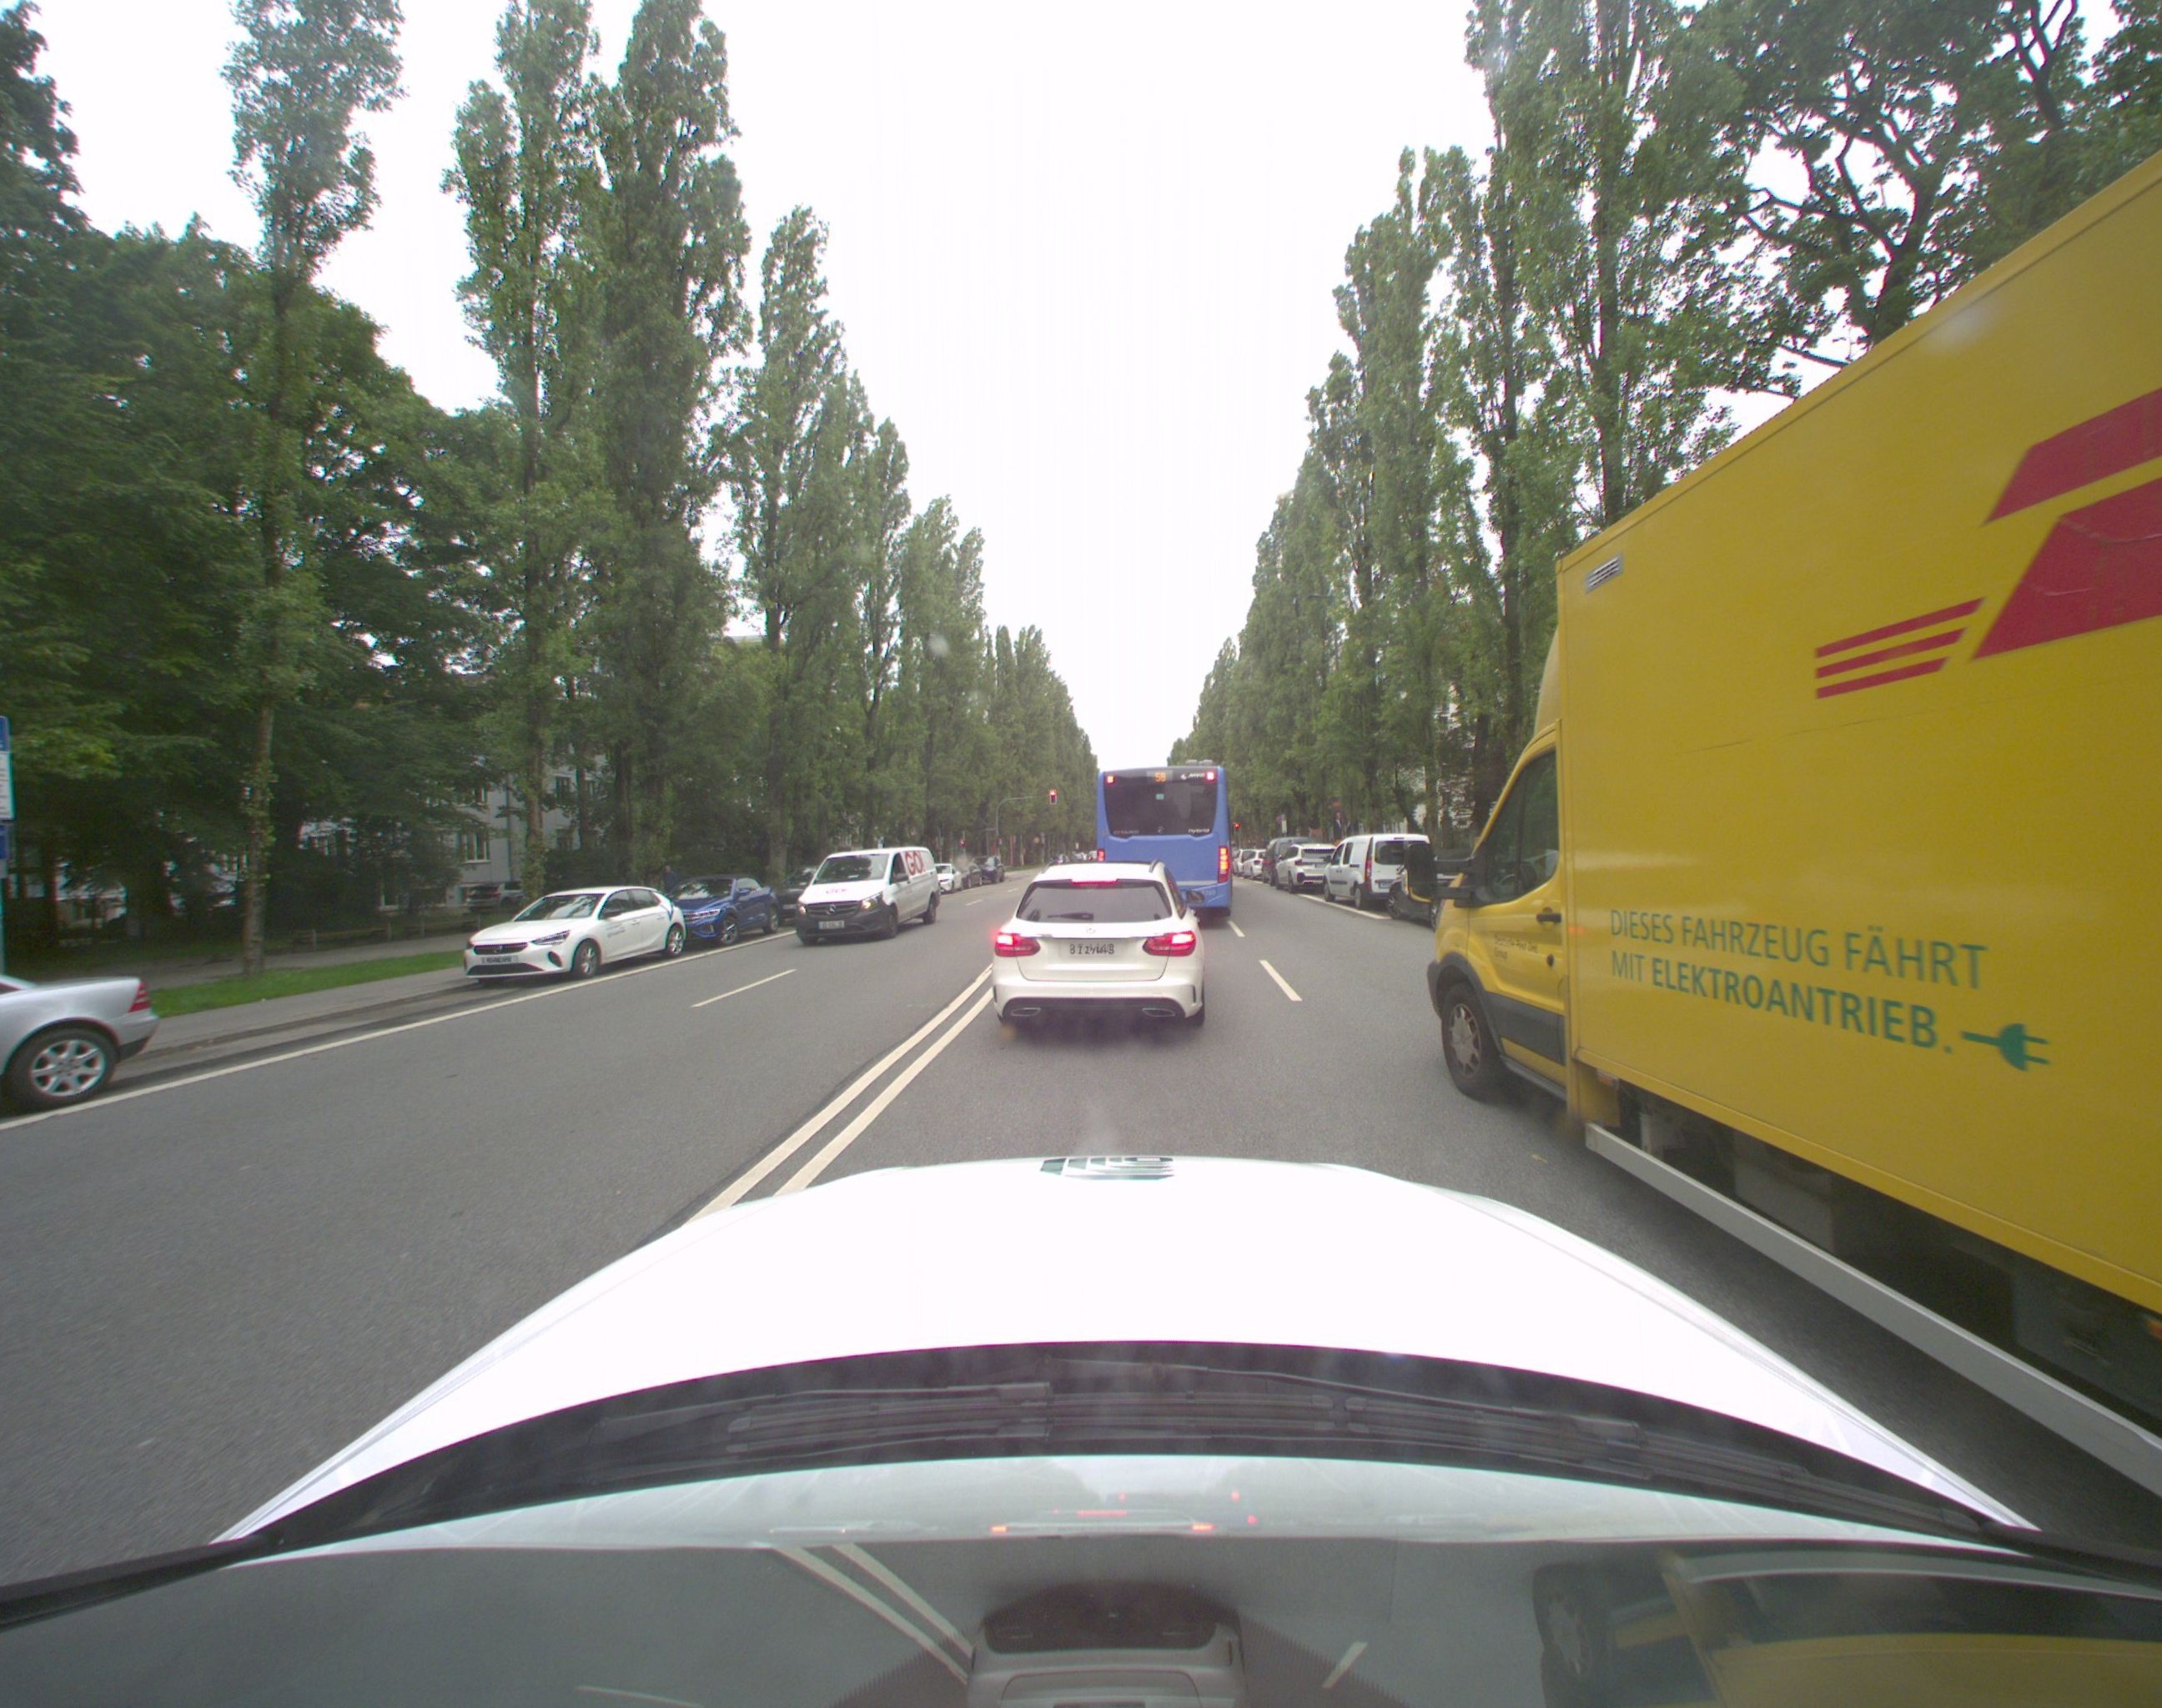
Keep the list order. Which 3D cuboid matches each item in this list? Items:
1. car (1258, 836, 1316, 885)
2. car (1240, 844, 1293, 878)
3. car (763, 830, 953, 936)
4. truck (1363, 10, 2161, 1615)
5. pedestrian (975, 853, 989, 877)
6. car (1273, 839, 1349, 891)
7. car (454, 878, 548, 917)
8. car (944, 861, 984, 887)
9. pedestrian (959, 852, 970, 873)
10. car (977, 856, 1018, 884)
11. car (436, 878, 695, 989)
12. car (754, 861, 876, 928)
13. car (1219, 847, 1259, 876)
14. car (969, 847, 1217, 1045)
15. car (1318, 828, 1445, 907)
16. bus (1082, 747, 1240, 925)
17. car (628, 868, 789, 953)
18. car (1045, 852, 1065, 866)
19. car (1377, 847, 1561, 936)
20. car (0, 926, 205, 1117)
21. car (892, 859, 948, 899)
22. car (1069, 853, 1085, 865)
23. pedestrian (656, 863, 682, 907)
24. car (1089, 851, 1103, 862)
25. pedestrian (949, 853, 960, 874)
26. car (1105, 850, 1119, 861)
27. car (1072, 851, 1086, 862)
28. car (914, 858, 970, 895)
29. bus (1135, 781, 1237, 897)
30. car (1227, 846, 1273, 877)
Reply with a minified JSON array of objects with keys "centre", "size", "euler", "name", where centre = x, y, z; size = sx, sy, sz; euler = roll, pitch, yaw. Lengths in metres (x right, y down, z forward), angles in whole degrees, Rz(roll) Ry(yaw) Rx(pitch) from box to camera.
[{"centre":[8.197,0.231,32.696],"size":[1.695,1.836,4.007],"euler":[-1,0,6],"name":"car"},{"centre":[8.813,0.318,38.973],"size":[1.791,1.475,4.003],"euler":[-2,0,3],"name":"car"},{"centre":[-4.730,0.547,18.462],"size":[2.172,1.891,5.704],"euler":[-4,0,5],"name":"car"},{"centre":[3.165,-0.082,2.487],"size":[2.318,2.898,7.338],"euler":[-2,0,3],"name":"truck"},{"centre":[-7.486,0.806,61.398],"size":[0.818,1.764,1.081],"euler":[-2,0,2],"name":"pedestrian"},{"centre":[7.655,0.326,27.447],"size":[1.670,1.596,4.092],"euler":[-1,0,4],"name":"car"},{"centre":[-30.451,2.235,42.934],"size":[1.989,1.684,4.261],"euler":[-3,0,-4],"name":"car"},{"centre":[-6.362,1.071,44.628],"size":[1.283,1.273,3.854],"euler":[-2,0,5],"name":"car"},{"centre":[-11.413,0.861,79.544],"size":[0.827,2.013,0.778],"euler":[-2,0,2],"name":"pedestrian"},{"centre":[-5.080,0.945,50.166],"size":[1.699,1.552,4.006],"euler":[-2,0,5],"name":"car"},{"centre":[-8.624,1.246,14.113],"size":[1.678,1.413,4.008],"euler":[-4,0,3],"name":"car"},{"centre":[-7.592,1.096,23.717],"size":[1.783,1.548,4.342],"euler":[-5,0,3],"name":"car"},{"centre":[9.530,0.403,49.266],"size":[1.801,1.618,4.003],"euler":[-2,0,3],"name":"car"},{"centre":[0.337,0.685,8.333],"size":[1.816,1.454,4.591],"euler":[-1,0,6],"name":"car"},{"centre":[7.325,0.297,20.304],"size":[1.825,1.773,4.234],"euler":[0,0,3],"name":"car"},{"centre":[2.276,-0.358,19.559],"size":[2.838,3.213,9.086],"euler":[-2,0,10],"name":"bus"},{"centre":[-8.300,1.180,18.581],"size":[1.738,1.518,4.116],"euler":[-4,0,-1],"name":"car"},{"centre":[-2.852,0.535,91.344],"size":[1.813,1.486,4.004],"euler":[-2,0,4],"name":"car"},{"centre":[6.836,0.576,14.828],"size":[1.738,1.354,4.006],"euler":[-2,0,5],"name":"car"},{"centre":[-8.973,1.376,5.460],"size":[1.573,1.304,4.034],"euler":[-4,0,5],"name":"car"},{"centre":[-6.889,1.036,35.167],"size":[1.403,1.552,3.449],"euler":[-2,0,5],"name":"car"},{"centre":[-0.524,0.673,110.661],"size":[1.813,1.486,4.004],"euler":[-2,0,4],"name":"car"},{"centre":[-16.618,1.251,32.855],"size":[0.597,1.739,0.641],"euler":[-2,0,4],"name":"pedestrian"},{"centre":[2.130,0.317,116.700],"size":[1.813,1.486,4.004],"euler":[-2,0,4],"name":"car"},{"centre":[-12.303,0.888,79.403],"size":[0.827,2.013,0.778],"euler":[-2,0,2],"name":"pedestrian"},{"centre":[4.974,0.215,129.986],"size":[1.985,1.619,4.004],"euler":[-2,0,4],"name":"car"},{"centre":[-0.302,0.394,119.563],"size":[1.813,1.486,4.004],"euler":[-2,0,4],"name":"car"},{"centre":[-6.606,1.032,39.027],"size":[1.701,1.548,4.003],"euler":[-3,0,3],"name":"car"},{"centre":[3.909,-0.465,28.693],"size":[2.854,3.304,9.817],"euler":[-2,0,10],"name":"bus"},{"centre":[9.102,0.371,44.114],"size":[1.778,1.491,4.004],"euler":[-2,0,3],"name":"car"}]
